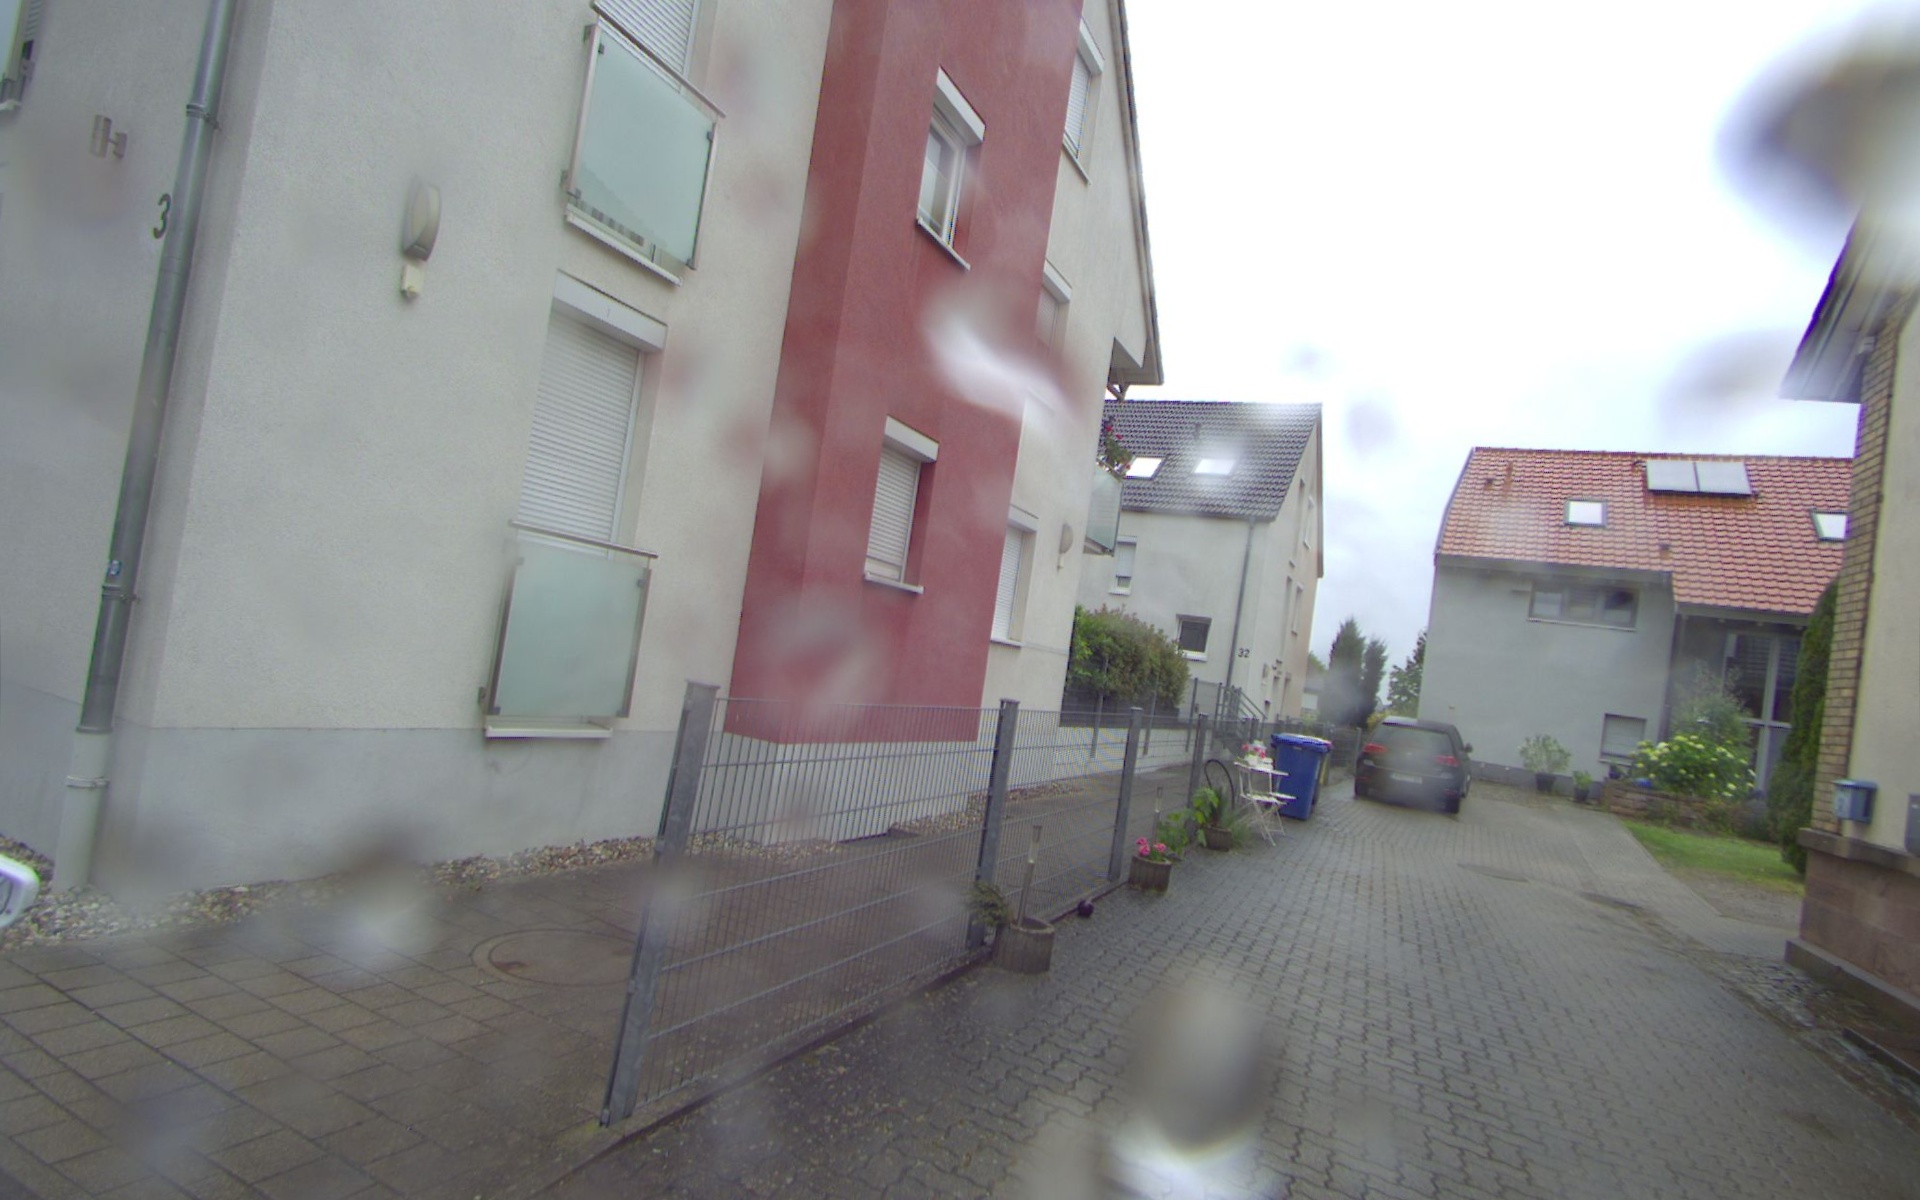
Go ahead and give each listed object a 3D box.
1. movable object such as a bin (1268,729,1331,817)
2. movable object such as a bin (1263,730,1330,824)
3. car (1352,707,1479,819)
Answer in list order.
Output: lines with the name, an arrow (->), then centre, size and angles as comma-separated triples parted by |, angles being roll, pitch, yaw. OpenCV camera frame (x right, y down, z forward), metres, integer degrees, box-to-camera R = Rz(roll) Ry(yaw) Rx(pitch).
movable object such as a bin -> 4.817, 2.439, 14.264 | 0.675, 1.108, 0.536 | 7, -2, 25
movable object such as a bin -> 4.510, 2.347, 13.464 | 0.675, 1.108, 0.536 | 7, -2, 25
car -> 8.551, 2.914, 18.705 | 1.656, 1.491, 3.993 | 7, 0, 30
